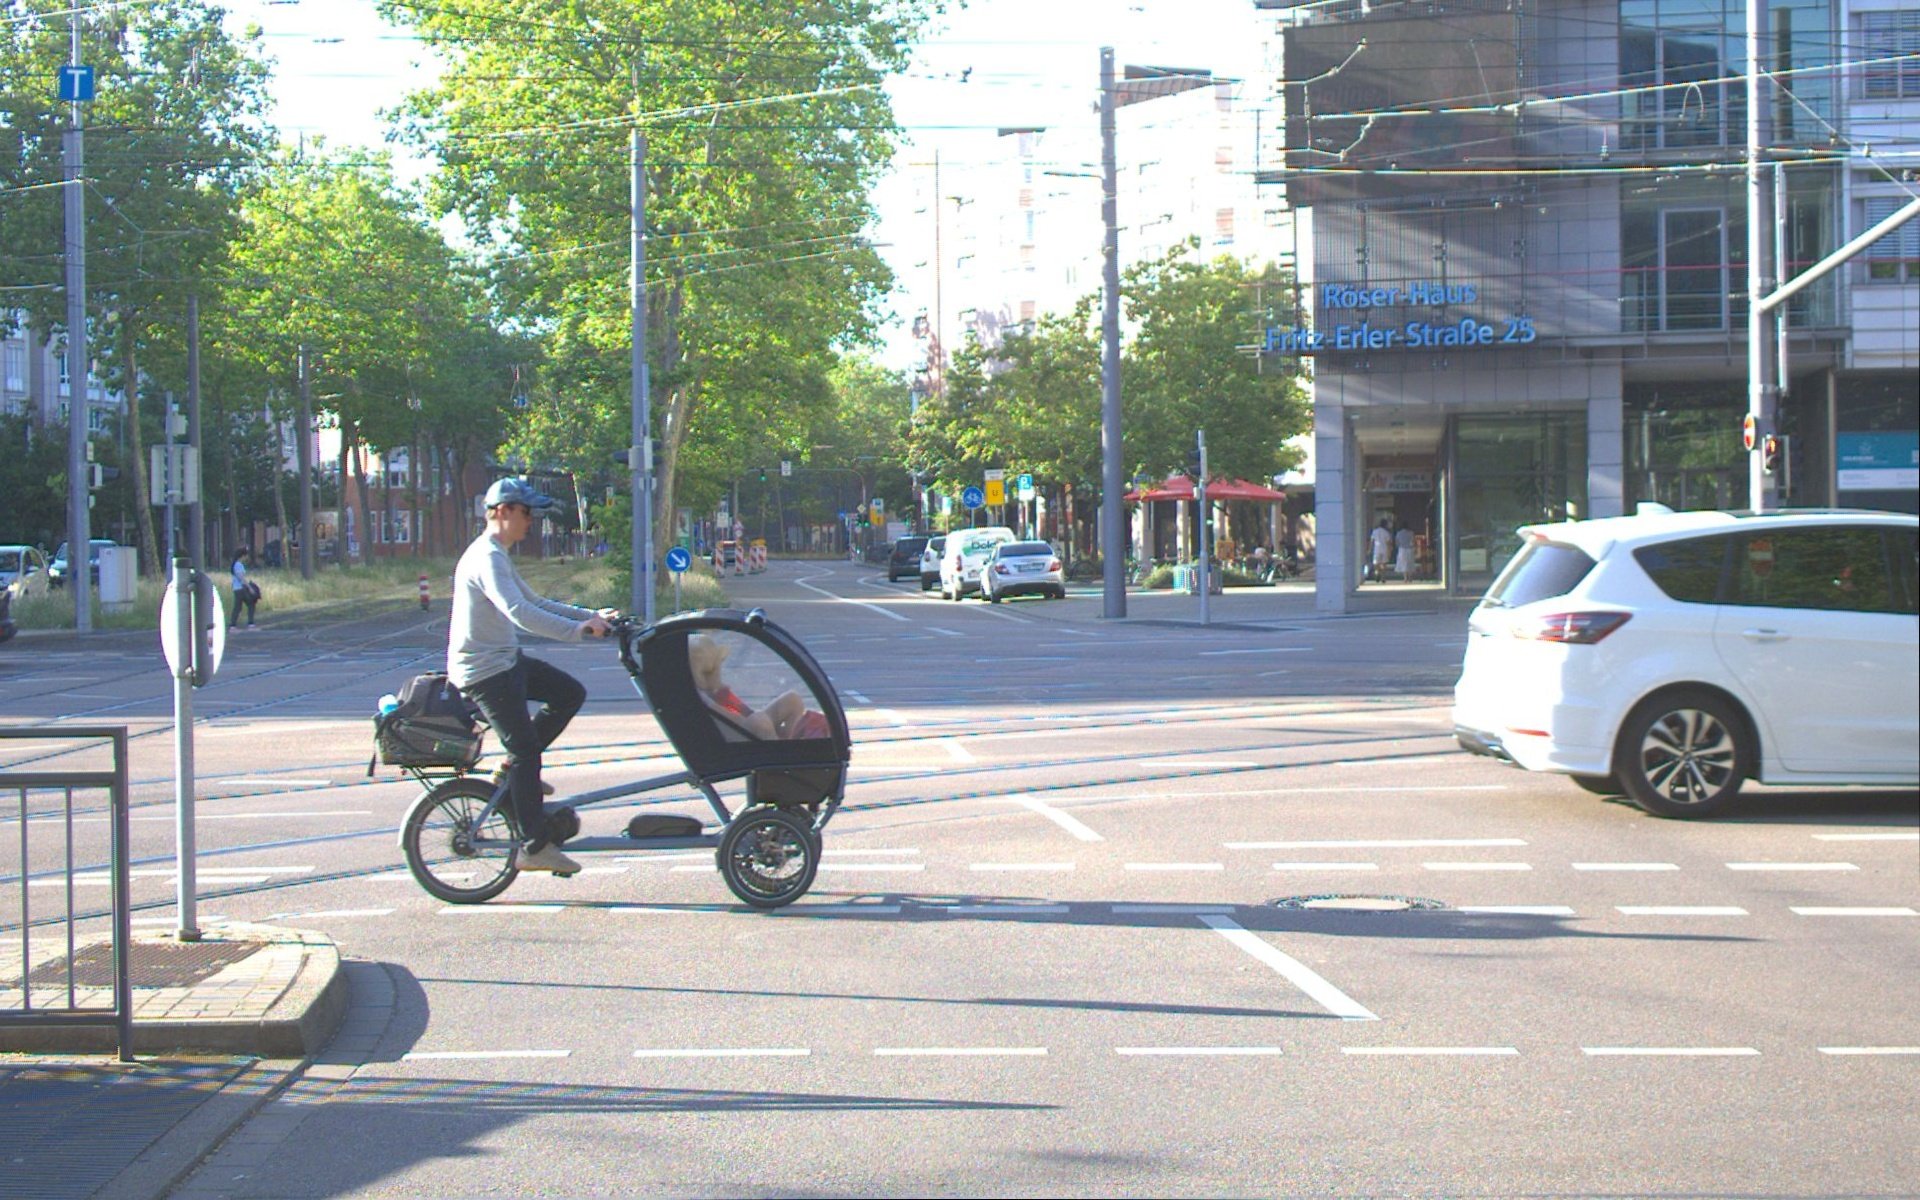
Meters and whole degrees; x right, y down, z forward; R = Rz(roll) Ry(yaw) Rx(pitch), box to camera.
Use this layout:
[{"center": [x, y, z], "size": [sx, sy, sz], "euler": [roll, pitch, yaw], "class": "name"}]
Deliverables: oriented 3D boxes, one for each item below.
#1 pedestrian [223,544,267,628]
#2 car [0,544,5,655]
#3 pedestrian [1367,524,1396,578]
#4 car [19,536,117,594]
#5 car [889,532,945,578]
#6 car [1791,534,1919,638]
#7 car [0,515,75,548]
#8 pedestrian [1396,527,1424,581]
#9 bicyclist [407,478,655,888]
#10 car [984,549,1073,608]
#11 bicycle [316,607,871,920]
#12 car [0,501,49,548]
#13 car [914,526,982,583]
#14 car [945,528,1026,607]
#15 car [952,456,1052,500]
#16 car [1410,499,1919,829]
[{"center": [-13.107, -0.258, 63.037], "size": [0.754, 1.525, 0.508], "euler": [0, 1, -7], "class": "pedestrian"}, {"center": [-15.019, 0.017, 46.755], "size": [3.859, 1.502, 1.796], "euler": [-1, 1, -14], "class": "car"}, {"center": [11.397, -1.325, 92.903], "size": [0.739, 1.460, 0.536], "euler": [-1, 1, 9], "class": "pedestrian"}, {"center": [-24.098, -0.951, 93.017], "size": [1.993, 1.503, 4.001], "euler": [-1, 1, -6], "class": "car"}, {"center": [-1.594, -1.663, 126.729], "size": [1.993, 1.656, 4.000], "euler": [-1, 1, -1], "class": "car"}, {"center": [14.134, -0.233, 50.096], "size": [3.596, 1.461, 1.795], "euler": [-1, 1, 1], "class": "car"}, {"center": [-46.781, -3.447, 173.080], "size": [3.987, 1.547, 1.607], "euler": [1, 1, -31], "class": "car"}, {"center": [12.108, -1.238, 92.481], "size": [0.706, 1.460, 0.384], "euler": [-1, 1, 9], "class": "pedestrian"}, {"center": [-1.791, 0.337, 14.447], "size": [0.904, 1.675, 0.691], "euler": [-1, 1, 3], "class": "bicyclist"}, {"center": [1.627, -0.536, 82.866], "size": [1.993, 1.327, 4.000], "euler": [-1, 1, -1], "class": "car"}, {"center": [-1.496, 0.660, 14.401], "size": [2.157, 1.222, 1.072], "euler": [0, 2, 3], "class": "bicycle"}, {"center": [-31.611, -2.530, 115.073], "size": [1.906, 1.505, 4.001], "euler": [1, 1, -12], "class": "car"}, {"center": [-0.386, -1.398, 105.012], "size": [1.993, 1.656, 4.000], "euler": [-1, 1, -1], "class": "car"}, {"center": [0.638, -0.873, 89.702], "size": [1.993, 1.985, 4.000], "euler": [-1, 1, -1], "class": "car"}, {"center": [1.721, -5.001, 140.850], "size": [3.764, 1.744, 1.780], "euler": [1, 0, 14], "class": "car"}, {"center": [5.104, 0.305, 19.247], "size": [4.833, 1.721, 2.000], "euler": [-1, 1, -3], "class": "car"}]
